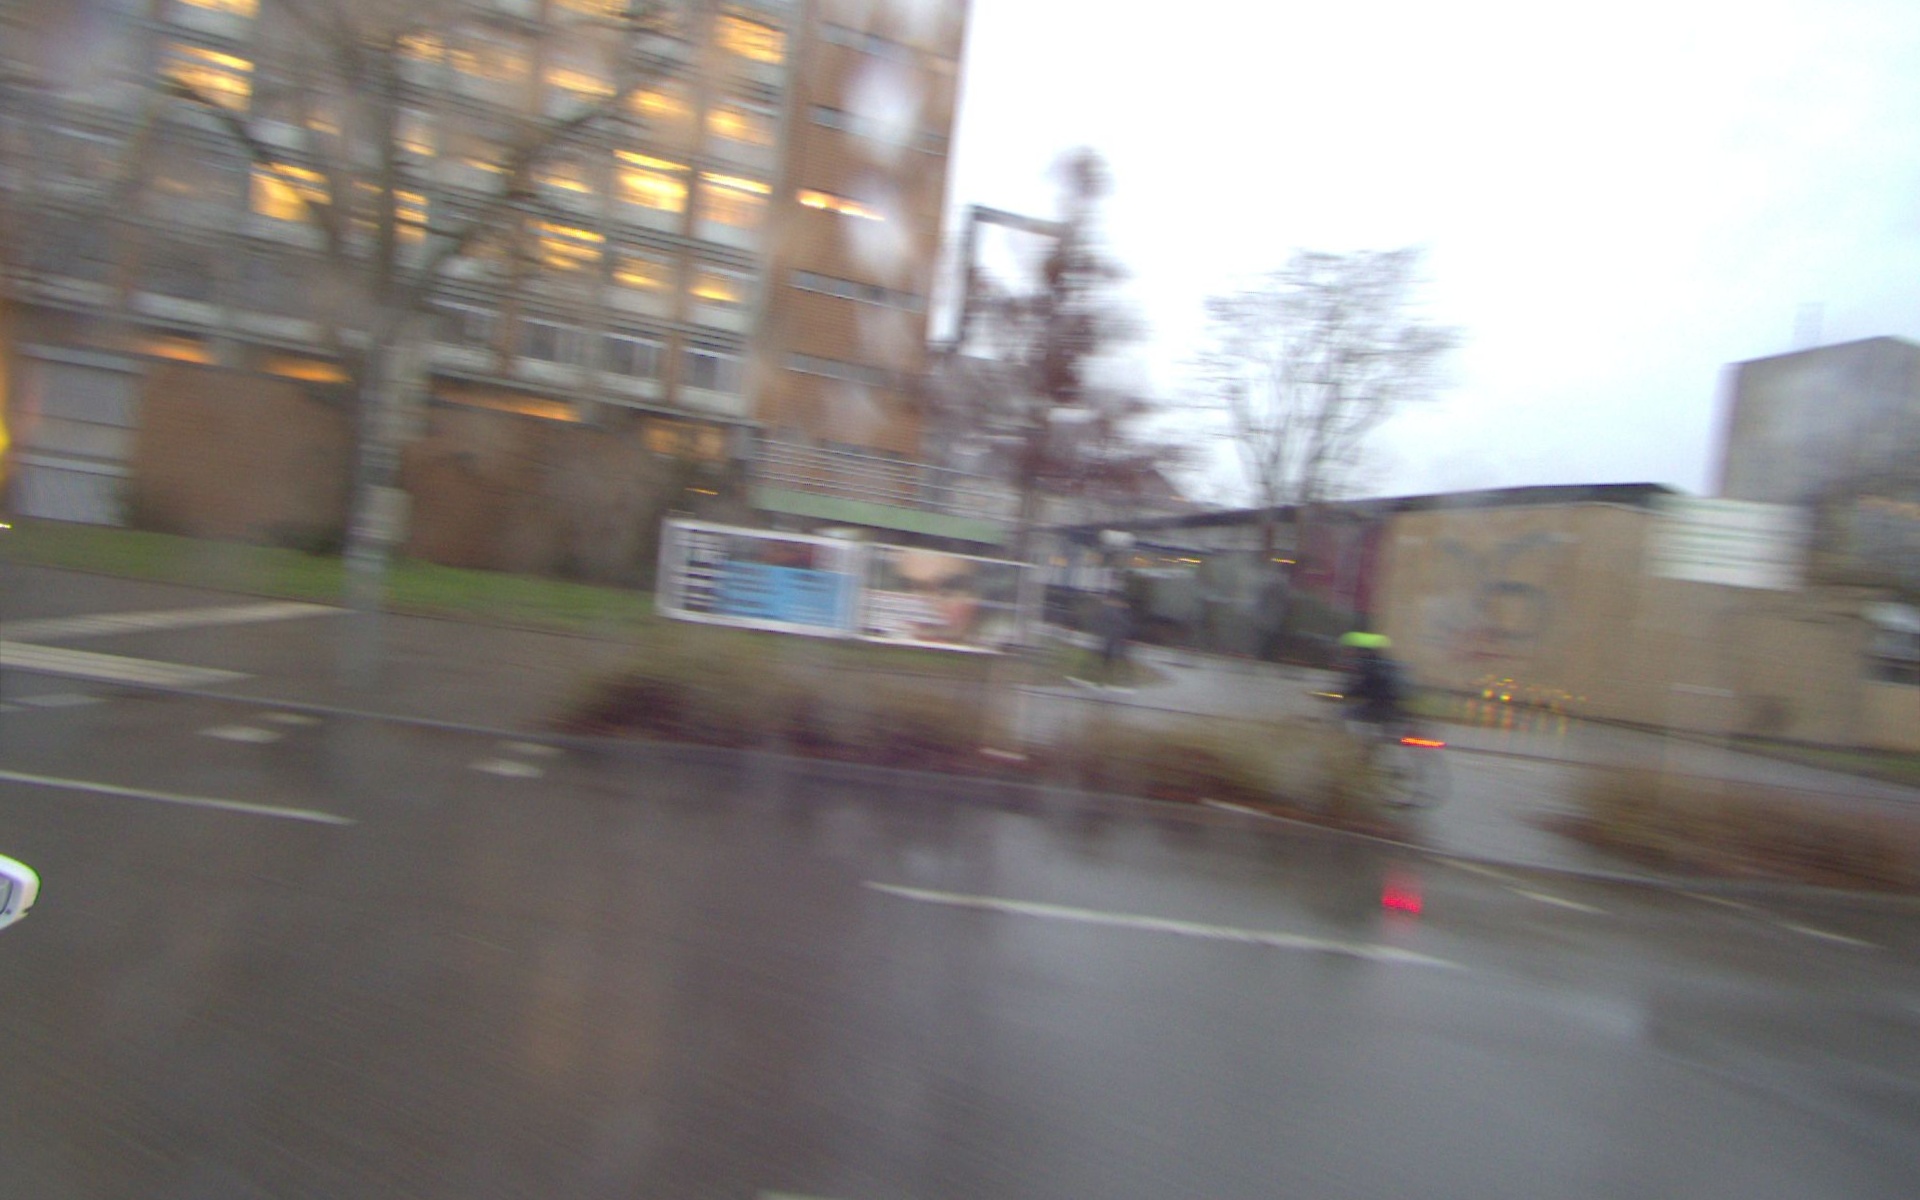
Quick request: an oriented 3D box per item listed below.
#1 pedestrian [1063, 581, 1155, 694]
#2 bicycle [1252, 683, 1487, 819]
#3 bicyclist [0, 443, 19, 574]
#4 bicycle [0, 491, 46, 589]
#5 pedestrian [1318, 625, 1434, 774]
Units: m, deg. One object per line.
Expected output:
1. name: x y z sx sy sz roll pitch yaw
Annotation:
1. pedestrian: 2.500 0.637 16.888 0.920 1.710 0.902 6 4 -40
2. bicycle: 4.151 1.493 10.297 2.061 0.959 0.561 8 2 34
3. bicyclist: -12.652 -1.205 12.529 1.065 1.641 0.805 7 5 4
4. bicycle: -12.835 -0.856 12.561 2.172 1.157 0.805 8 4 4
5. pedestrian: 4.228 0.976 10.203 0.834 1.334 0.875 8 2 30
